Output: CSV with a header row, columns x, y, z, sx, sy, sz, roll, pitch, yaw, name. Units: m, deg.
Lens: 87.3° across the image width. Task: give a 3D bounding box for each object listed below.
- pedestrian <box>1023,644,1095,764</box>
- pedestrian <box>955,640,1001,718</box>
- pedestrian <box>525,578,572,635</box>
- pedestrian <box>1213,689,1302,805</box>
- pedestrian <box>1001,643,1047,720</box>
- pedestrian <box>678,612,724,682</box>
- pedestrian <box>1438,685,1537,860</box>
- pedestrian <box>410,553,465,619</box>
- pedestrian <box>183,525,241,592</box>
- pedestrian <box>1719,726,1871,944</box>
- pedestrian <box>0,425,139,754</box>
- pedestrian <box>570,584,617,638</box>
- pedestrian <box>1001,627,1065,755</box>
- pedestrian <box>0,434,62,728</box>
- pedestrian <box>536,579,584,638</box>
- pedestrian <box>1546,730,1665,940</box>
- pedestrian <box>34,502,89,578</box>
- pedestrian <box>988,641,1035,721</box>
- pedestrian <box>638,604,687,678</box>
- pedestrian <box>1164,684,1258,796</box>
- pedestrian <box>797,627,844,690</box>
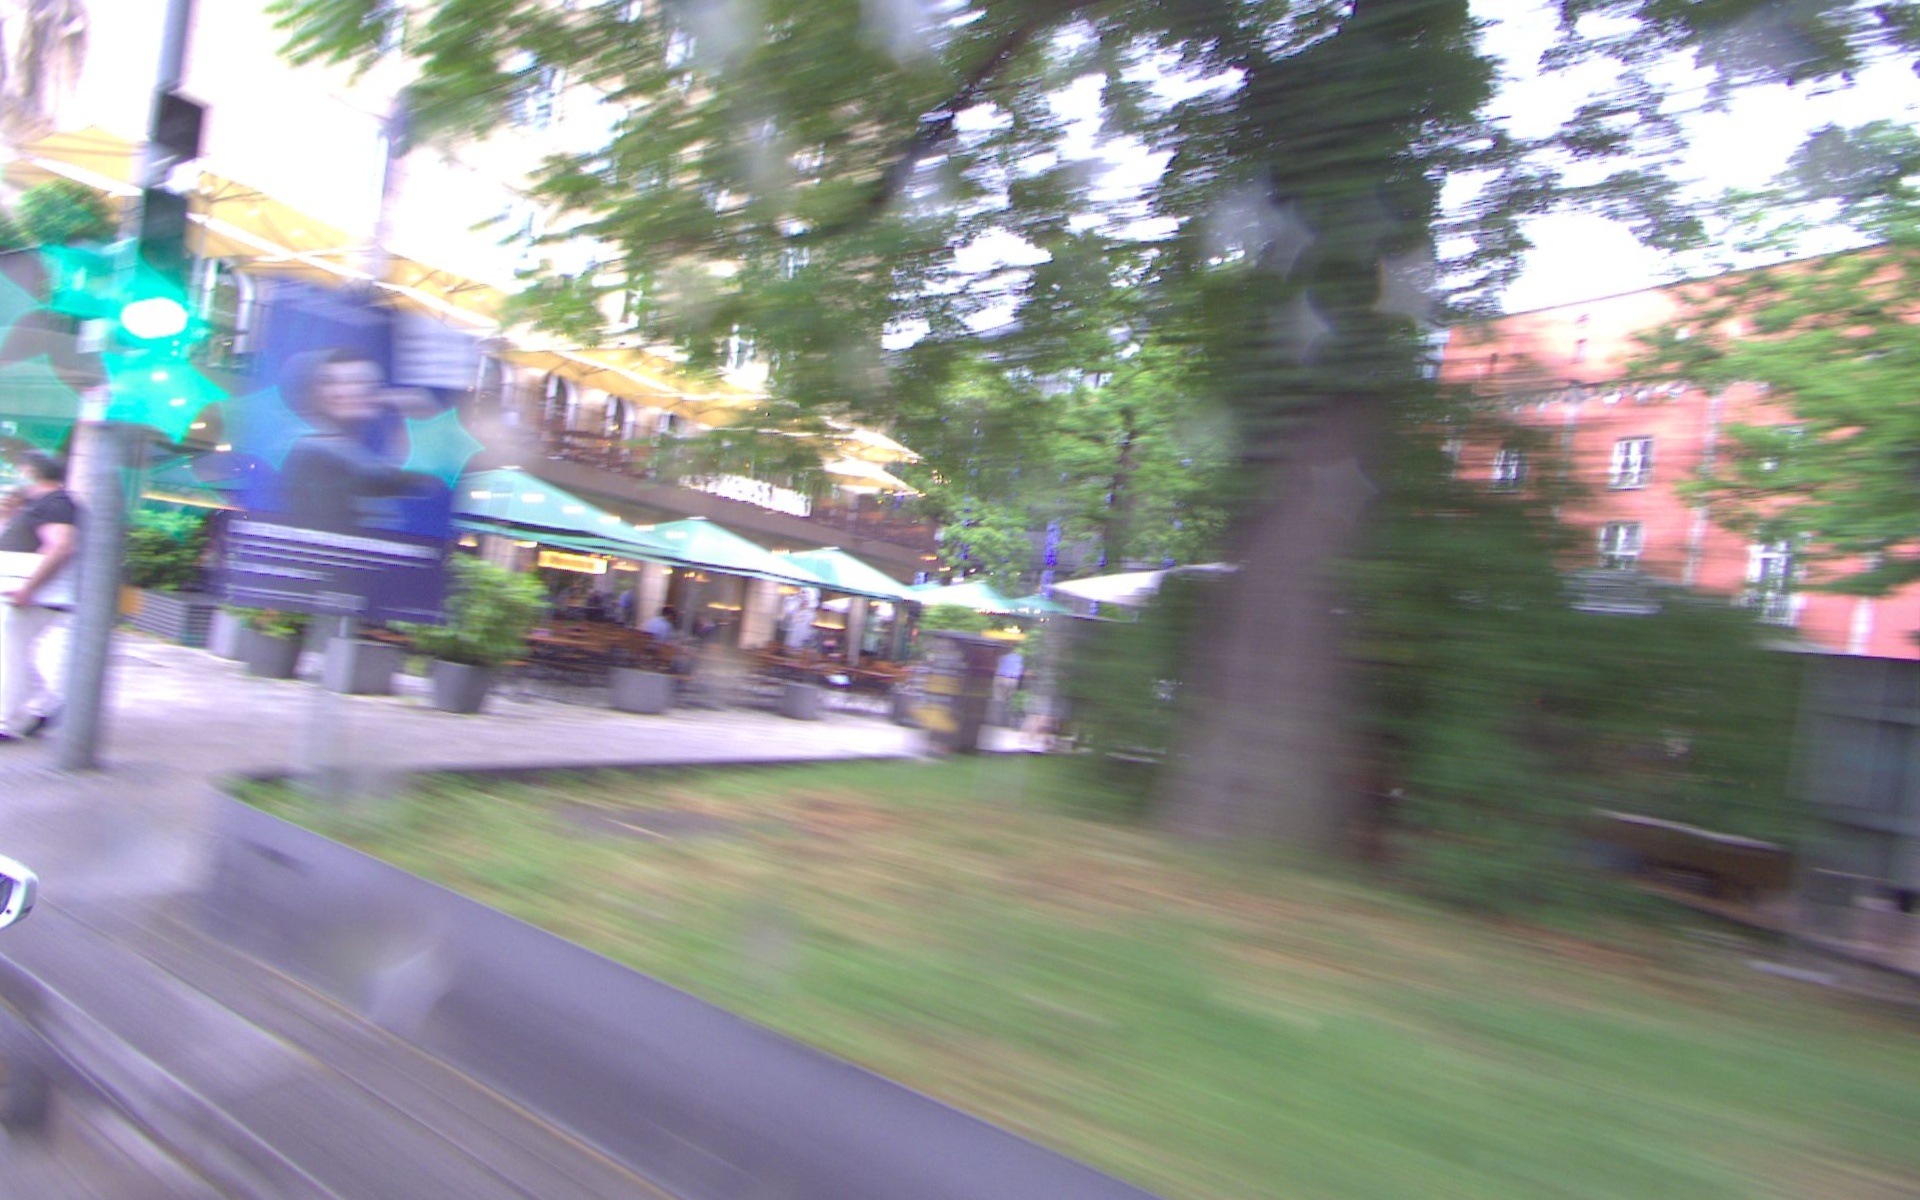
x,y,z,sx,sy,sz,roll,pitch,yaw,name
1.516,1.574,15.271,0.615,1.699,0.849,7,-2,27,pedestrian
0.412,1.791,22.735,0.615,1.661,0.672,7,-2,27,pedestrian
-8.587,0.140,20.998,0.536,1.068,0.555,7,-1,33,pedestrian
3.813,1.877,12.902,0.711,1.342,0.637,9,-2,-28,pedestrian
1.476,1.873,23.052,0.615,1.661,0.677,7,-2,27,pedestrian
-5.226,0.948,20.294,0.418,1.337,0.649,7,-2,27,pedestrian
6.005,1.949,11.467,0.493,1.856,0.639,9,-2,-22,pedestrian
-9.442,-0.251,18.177,0.536,1.068,0.555,7,-1,33,pedestrian
-13.219,-0.731,17.776,0.536,1.068,0.555,7,-1,33,pedestrian
7.216,2.008,8.711,0.564,1.699,0.680,9,-2,-20,pedestrian
-5.529,-0.049,6.035,0.554,1.856,0.633,6,-1,34,pedestrian
-8.008,0.249,21.983,0.641,1.068,0.555,7,-1,33,pedestrian
1.155,1.422,15.809,0.621,1.910,0.465,7,-2,27,pedestrian
-6.369,-0.140,6.364,0.617,1.856,0.592,7,-1,4,pedestrian
-8.013,0.177,20.141,0.536,1.068,0.555,7,-1,33,pedestrian
4.804,1.729,7.501,0.512,1.433,0.342,8,-2,1,pedestrian
-13.837,-0.925,15.493,0.471,1.085,0.330,8,-1,22,pedestrian
1.142,1.801,22.280,0.615,1.661,0.677,7,-2,27,pedestrian
-5.729,0.796,19.366,0.418,1.337,0.649,7,-2,27,pedestrian
3.409,1.892,13.706,0.634,1.342,0.941,9,-2,-25,pedestrian
-3.282,1.382,23.708,0.615,1.383,0.739,7,-2,27,pedestrian
